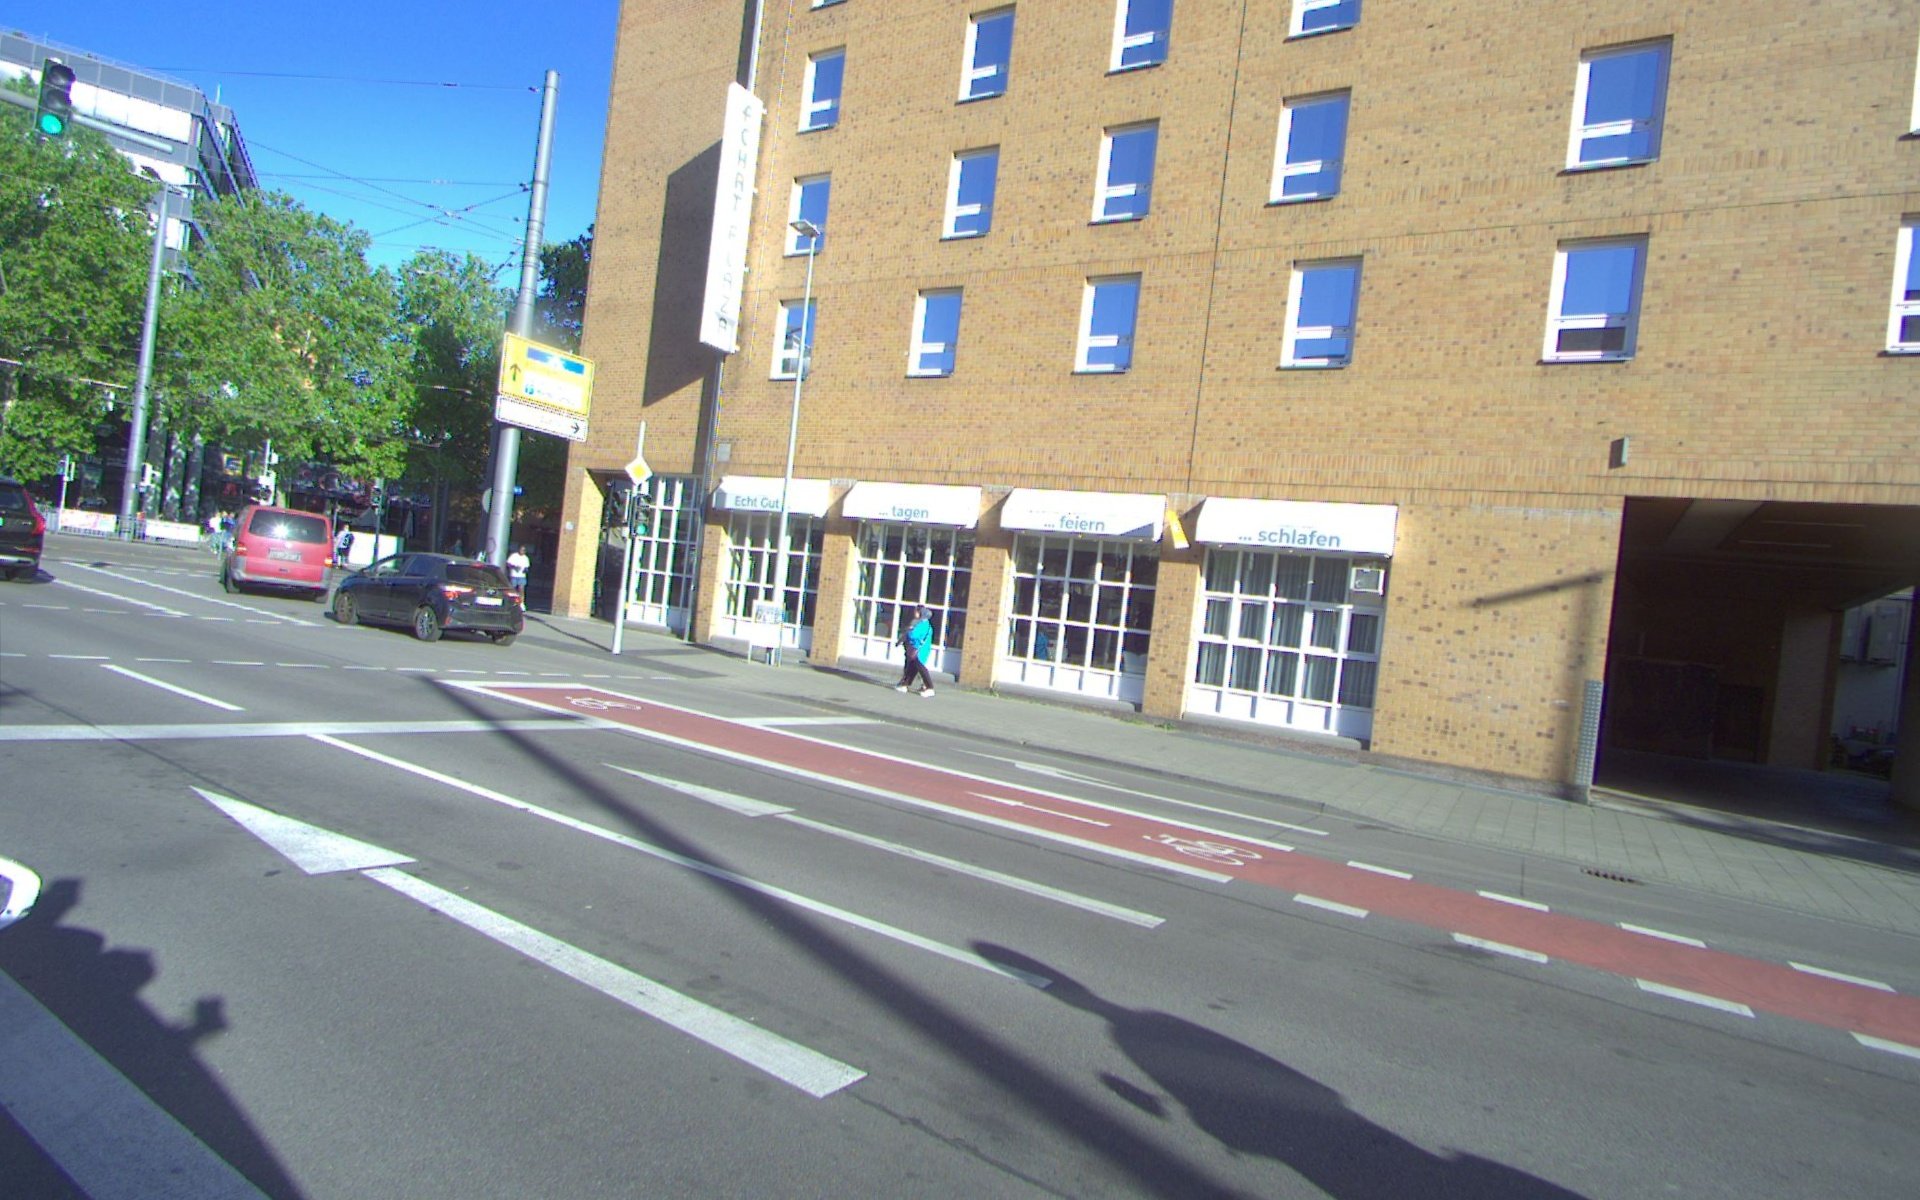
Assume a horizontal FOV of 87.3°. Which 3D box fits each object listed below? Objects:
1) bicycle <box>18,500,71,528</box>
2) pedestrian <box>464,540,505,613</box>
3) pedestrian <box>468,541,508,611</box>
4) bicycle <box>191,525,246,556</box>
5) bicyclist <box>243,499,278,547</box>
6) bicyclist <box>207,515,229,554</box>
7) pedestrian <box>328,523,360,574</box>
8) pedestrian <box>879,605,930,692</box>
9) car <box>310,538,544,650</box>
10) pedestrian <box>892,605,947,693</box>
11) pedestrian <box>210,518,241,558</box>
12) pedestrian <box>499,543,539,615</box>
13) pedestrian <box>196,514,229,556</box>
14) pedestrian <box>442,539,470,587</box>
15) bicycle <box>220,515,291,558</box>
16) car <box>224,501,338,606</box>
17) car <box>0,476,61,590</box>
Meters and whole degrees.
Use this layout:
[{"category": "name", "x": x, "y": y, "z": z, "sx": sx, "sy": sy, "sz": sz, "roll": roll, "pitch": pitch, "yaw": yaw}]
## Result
[{"category": "bicycle", "x": -46.257, "y": -4.328, "z": 50.862, "sx": 0.354, "sy": 1.058, "sz": 1.884, "roll": 6, "pitch": -2, "yaw": 31}, {"category": "pedestrian", "x": -12.168, "y": -0.601, "z": 25.738, "sx": 0.670, "sy": 1.804, "sz": 0.593, "roll": 5, "pitch": 3, "yaw": 29}, {"category": "pedestrian", "x": -12.916, "y": -0.652, "z": 27.532, "sx": 0.726, "sy": 1.813, "sz": 0.510, "roll": 7, "pitch": -1, "yaw": -19}, {"category": "bicycle", "x": -36.557, "y": -2.913, "z": 49.636, "sx": 0.414, "sy": 1.228, "sz": 2.046, "roll": 6, "pitch": -2, "yaw": 32}, {"category": "bicyclist", "x": -28.661, "y": -3.148, "z": 41.233, "sx": 0.686, "sy": 1.829, "sz": 0.729, "roll": 7, "pitch": -1, "yaw": 2}, {"category": "bicyclist", "x": -36.553, "y": -3.230, "z": 49.588, "sx": 0.396, "sy": 1.859, "sz": 0.585, "roll": 6, "pitch": -1, "yaw": 31}, {"category": "pedestrian", "x": -24.451, "y": -2.038, "z": 39.944, "sx": 0.787, "sy": 1.920, "sz": 0.809, "roll": 8, "pitch": -1, "yaw": -39}, {"category": "pedestrian", "x": -1.004, "y": 0.884, "z": 18.195, "sx": 0.543, "sy": 1.495, "sz": 0.593, "roll": 6, "pitch": 1, "yaw": 32}, {"category": "car", "x": -9.844, "y": -0.121, "z": 18.536, "sx": 3.970, "sy": 1.466, "sz": 1.737, "roll": 7, "pitch": -2, "yaw": 28}, {"category": "pedestrian", "x": -0.713, "y": 0.858, "z": 17.633, "sx": 0.591, "sy": 1.470, "sz": 0.593, "roll": 6, "pitch": 1, "yaw": 32}, {"category": "pedestrian", "x": -29.821, "y": -2.521, "z": 40.849, "sx": 0.689, "sy": 1.496, "sz": 0.568, "roll": 7, "pitch": -1, "yaw": 6}, {"category": "pedestrian", "x": -11.621, "y": -0.554, "z": 26.507, "sx": 0.673, "sy": 1.802, "sz": 0.591, "roll": 6, "pitch": 1, "yaw": 43}, {"category": "pedestrian", "x": -29.918, "y": -2.581, "z": 40.266, "sx": 0.689, "sy": 1.550, "sz": 0.568, "roll": 7, "pitch": -1, "yaw": 6}, {"category": "pedestrian", "x": -19.182, "y": -1.410, "z": 38.279, "sx": 0.636, "sy": 1.719, "sz": 0.715, "roll": 8, "pitch": -1, "yaw": -39}, {"category": "bicycle", "x": -28.740, "y": -2.565, "z": 41.114, "sx": 0.715, "sy": 1.383, "sz": 2.920, "roll": 7, "pitch": -2, "yaw": 0}, {"category": "car", "x": -15.779, "y": -1.080, "z": 23.281, "sx": 1.794, "sy": 2.033, "sz": 4.427, "roll": 6, "pitch": 0, "yaw": -37}, {"category": "car", "x": -17.438, "y": -1.378, "z": 17.005, "sx": 4.531, "sy": 1.752, "sz": 1.736, "roll": 8, "pitch": -1, "yaw": 28}]
